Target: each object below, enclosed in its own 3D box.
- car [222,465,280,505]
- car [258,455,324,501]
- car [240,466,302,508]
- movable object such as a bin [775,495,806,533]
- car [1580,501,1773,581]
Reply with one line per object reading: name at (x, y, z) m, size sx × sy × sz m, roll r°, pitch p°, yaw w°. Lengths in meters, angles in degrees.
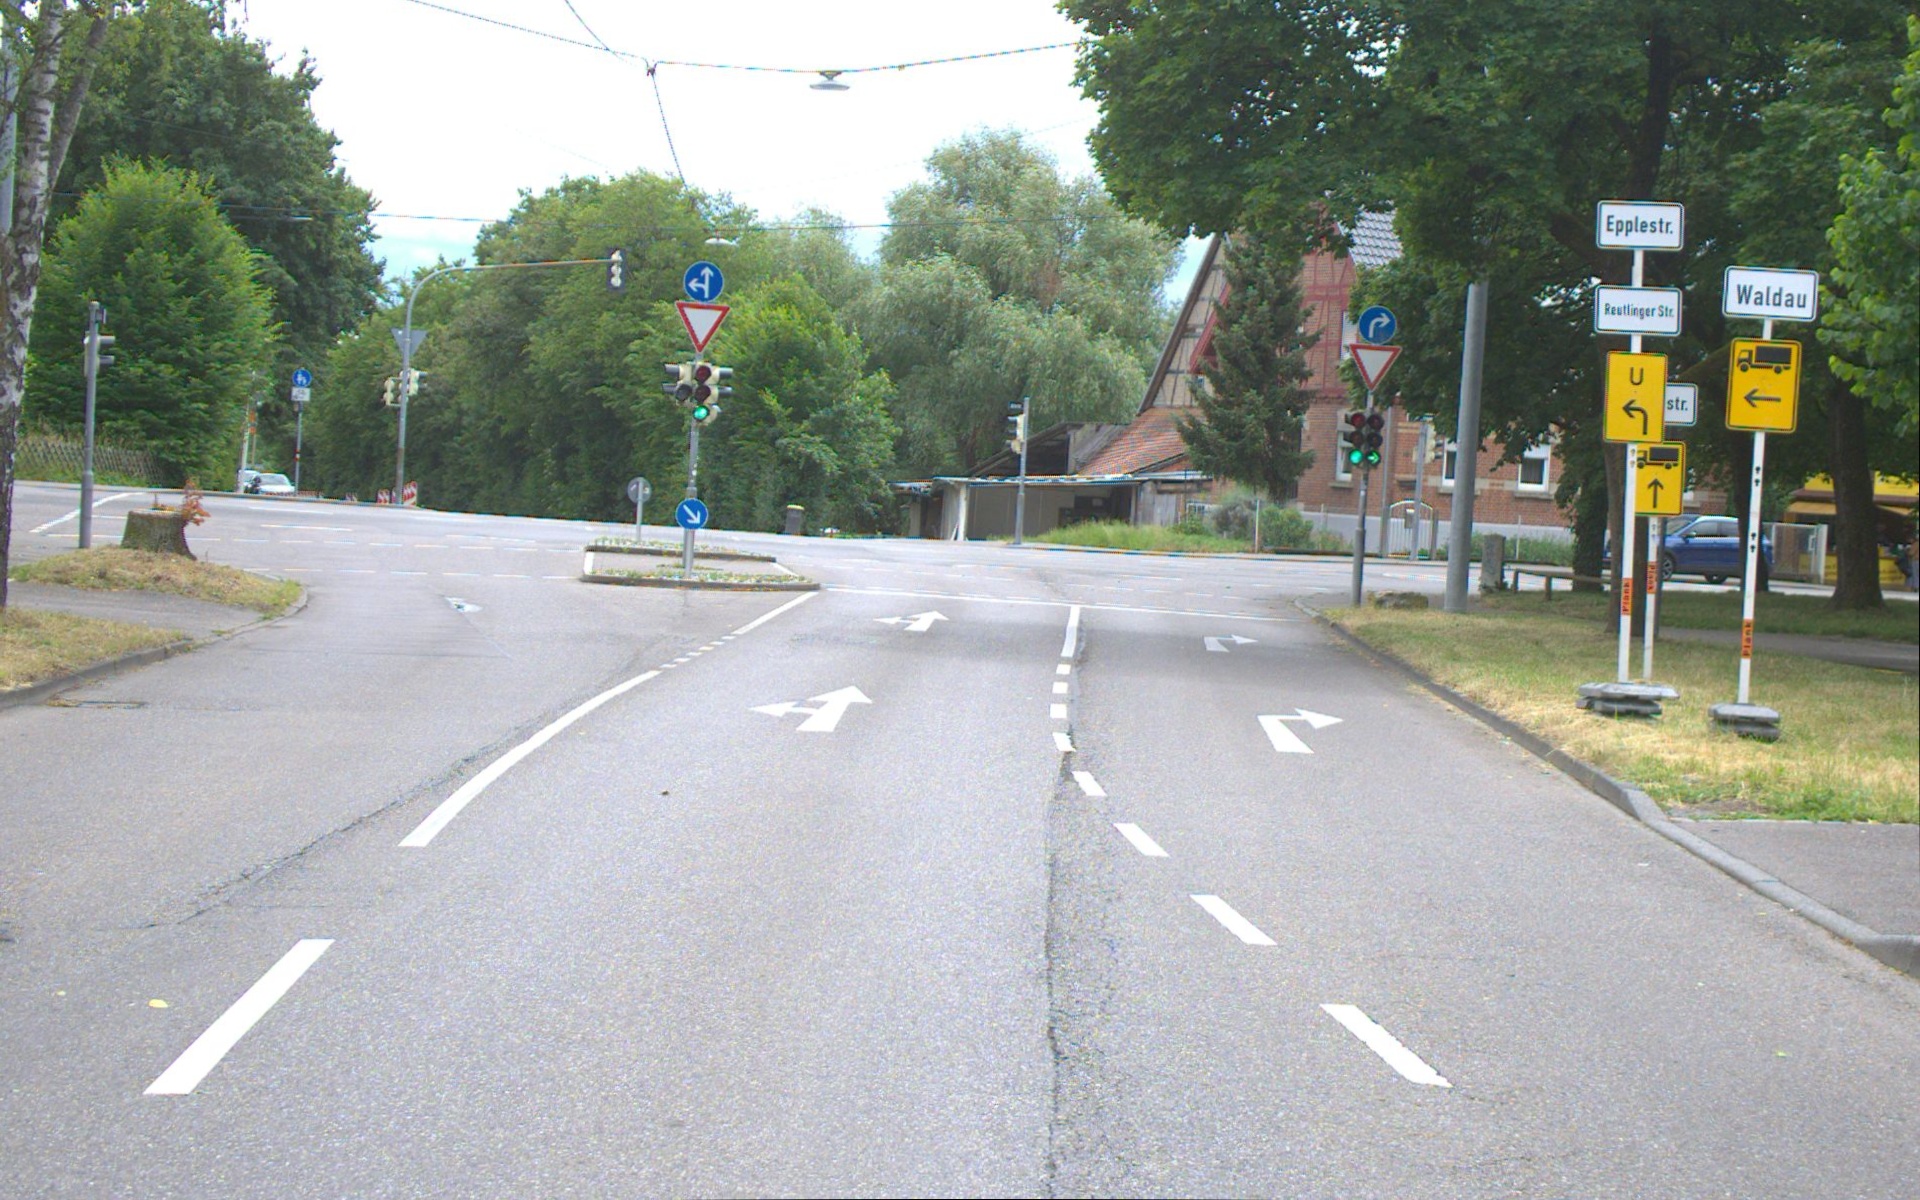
car at (-27.344, -4.425, 132.514) m, size 1.793 × 1.405 × 4.002 m, roll 2°, pitch 2°, yaw -17°
car at (-23.531, -4.291, 120.829) m, size 1.793 × 1.507 × 4.002 m, roll 2°, pitch 2°, yaw -17°
car at (-25.466, -4.179, 127.037) m, size 1.793 × 1.405 × 4.002 m, roll 2°, pitch 2°, yaw -17°
movable object such as a bin at (-4.637, -2.341, 94.036) m, size 0.632 × 0.998 × 0.584 m, roll 3°, pitch 0°, yaw -26°
car at (16.707, -1.387, 80.198) m, size 3.844 × 1.641 × 2.001 m, roll 2°, pitch 2°, yaw -18°
